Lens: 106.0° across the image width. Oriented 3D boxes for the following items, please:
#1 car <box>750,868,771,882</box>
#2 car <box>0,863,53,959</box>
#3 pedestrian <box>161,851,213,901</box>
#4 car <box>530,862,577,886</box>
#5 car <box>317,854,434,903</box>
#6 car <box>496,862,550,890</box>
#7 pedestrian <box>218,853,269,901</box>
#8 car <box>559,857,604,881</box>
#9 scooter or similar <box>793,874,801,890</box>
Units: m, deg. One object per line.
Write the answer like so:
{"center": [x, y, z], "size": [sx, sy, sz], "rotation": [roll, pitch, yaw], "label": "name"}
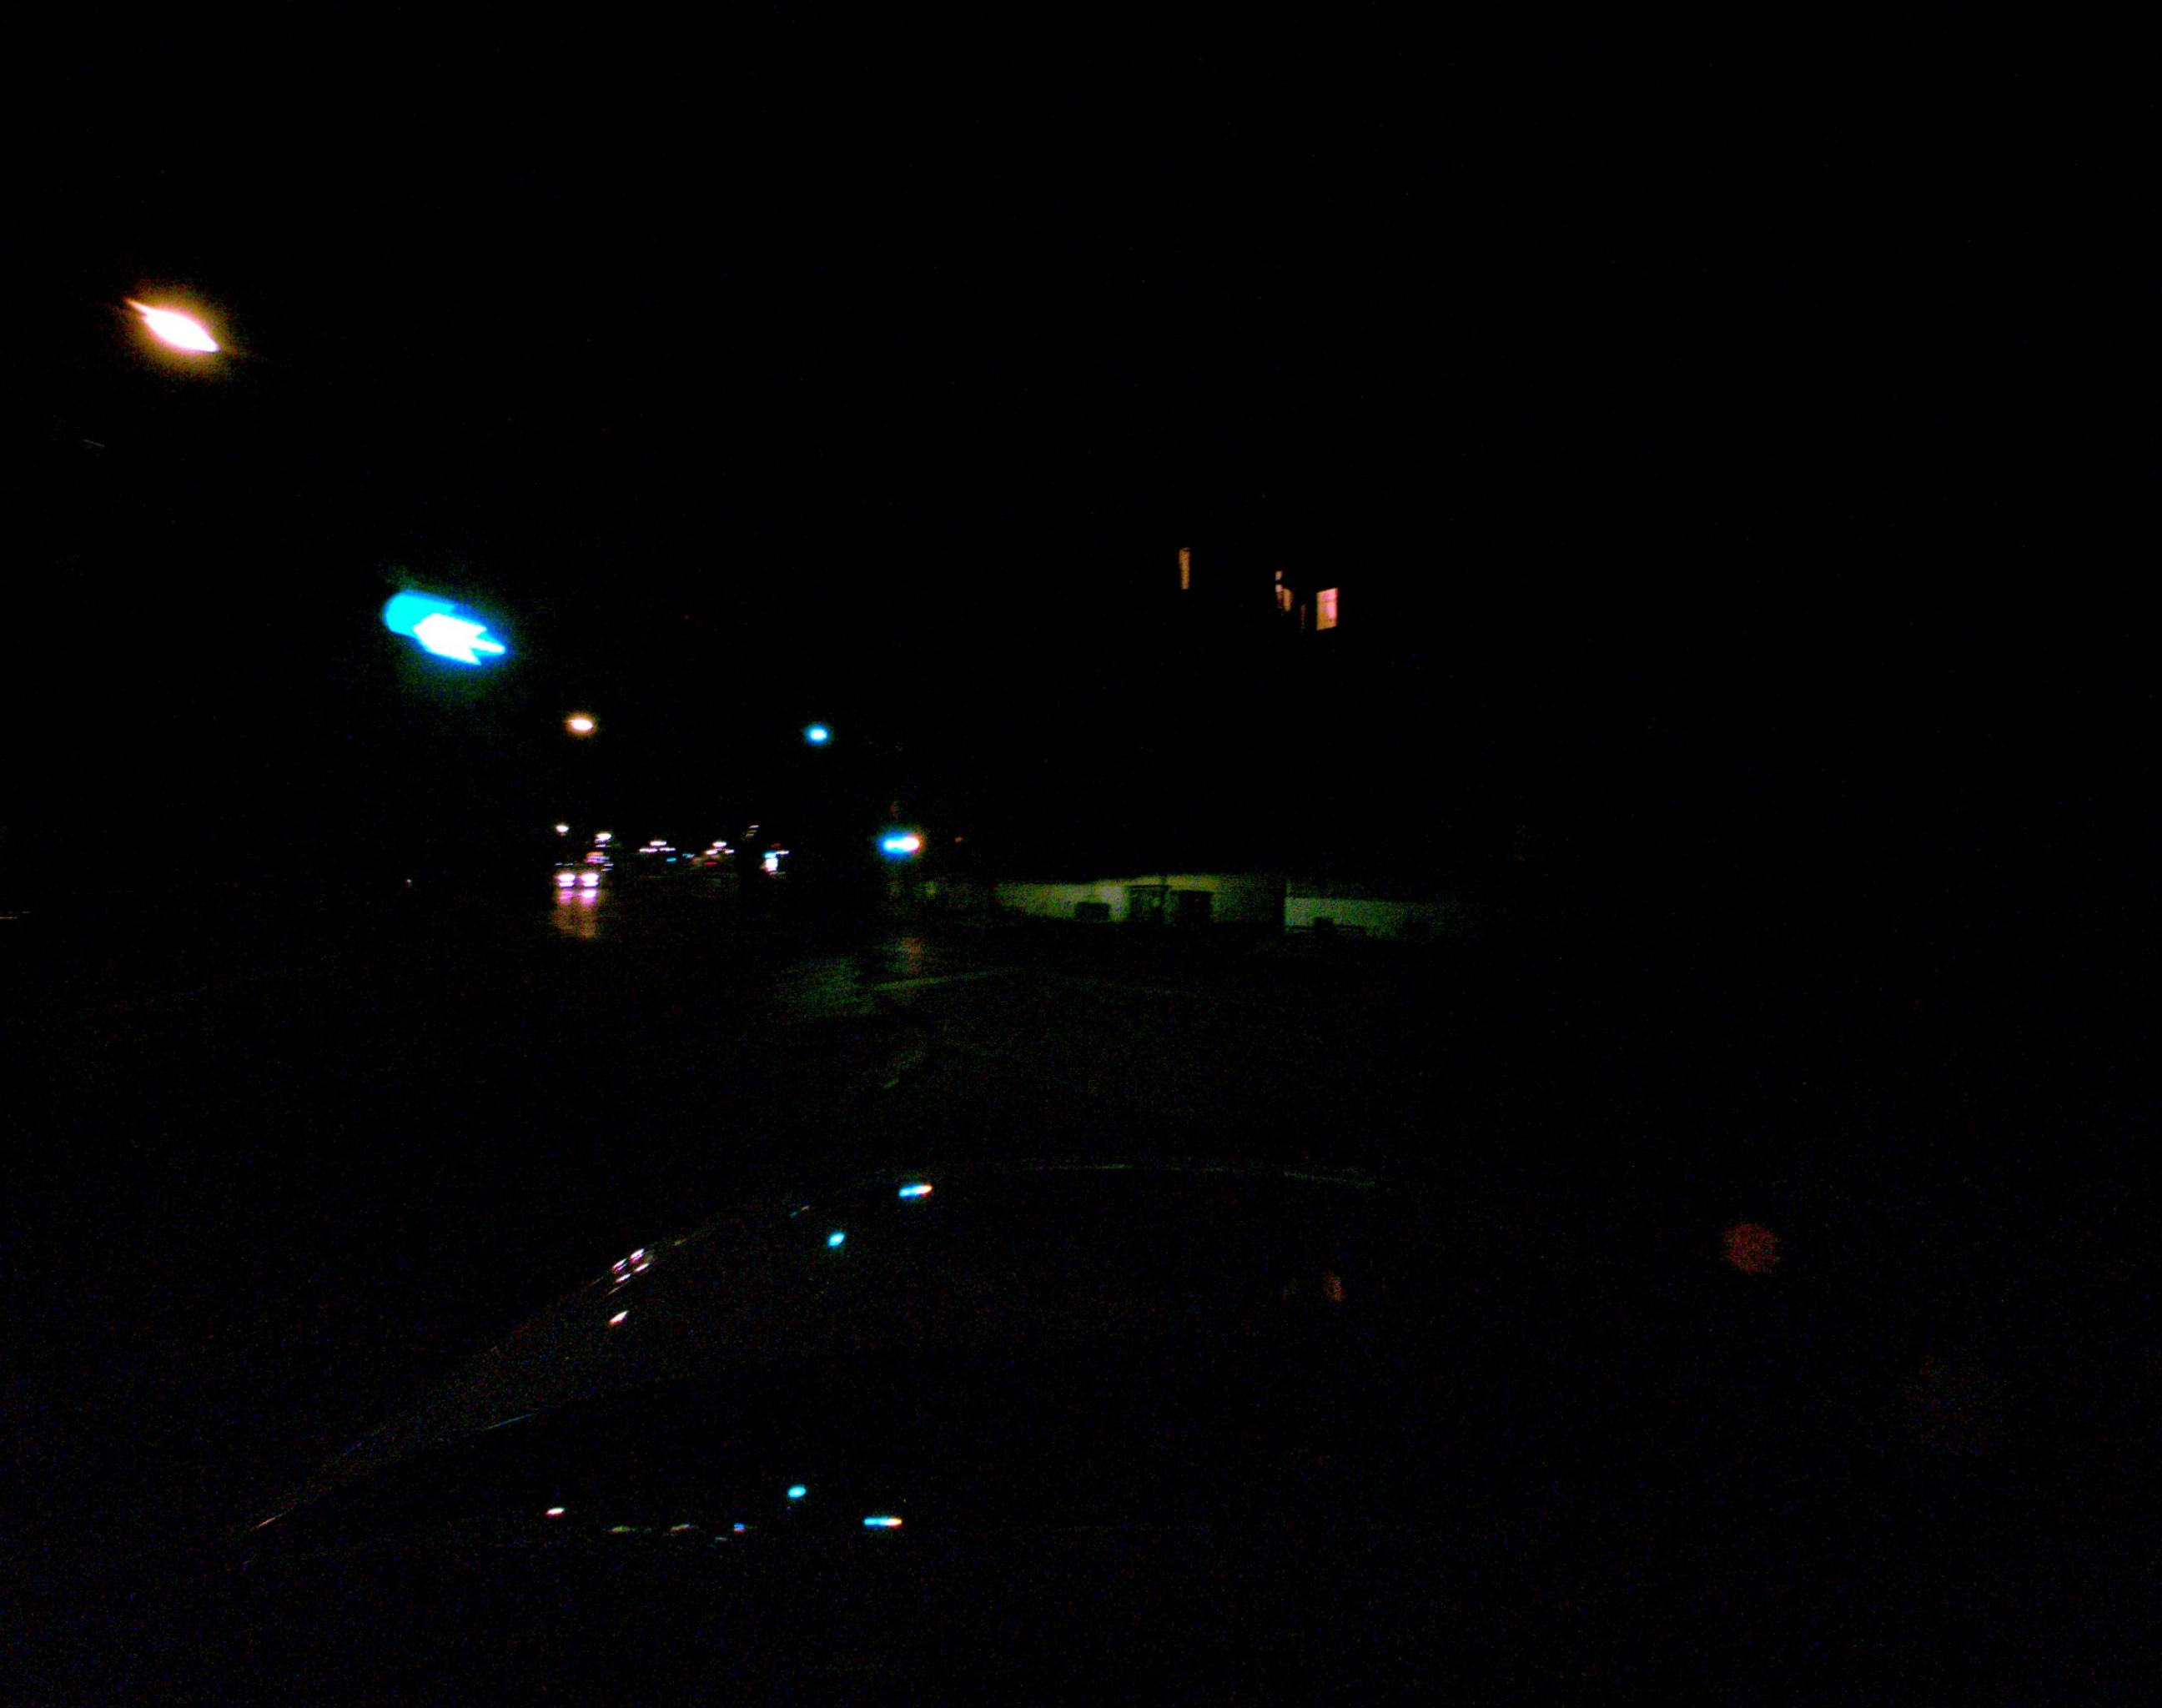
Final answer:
{"center": [-37.418, 2.409, 94.986], "size": [1.743, 1.460, 4.685], "rotation": [3, -2, -27], "label": "car"}
{"center": [-16.653, 0.794, 10.734], "size": [1.868, 1.434, 4.409], "rotation": [4, -2, -23], "label": "car"}
{"center": [-31.094, 0.773, 28.331], "size": [0.710, 1.690, 0.993], "rotation": [2, -2, -13], "label": "pedestrian"}
{"center": [-36.794, 1.408, 56.946], "size": [1.791, 1.491, 4.298], "rotation": [5, -3, -21], "label": "car"}
{"center": [-25.684, 0.900, 29.838], "size": [1.893, 1.597, 3.994], "rotation": [4, -3, -22], "label": "car"}
{"center": [-33.519, 1.308, 49.033], "size": [1.597, 1.491, 3.675], "rotation": [5, -3, -18], "label": "car"}
{"center": [-30.135, 0.825, 29.324], "size": [0.710, 1.690, 1.119], "rotation": [2, -2, -13], "label": "pedestrian"}
{"center": [-30.934, 0.944, 50.515], "size": [1.722, 1.430, 3.969], "rotation": [1, -1, -23], "label": "car"}
{"center": [-21.452, 2.119, 61.464], "size": [0.422, 1.130, 1.485], "rotation": [2, -1, -15], "label": "scooter or similar"}
